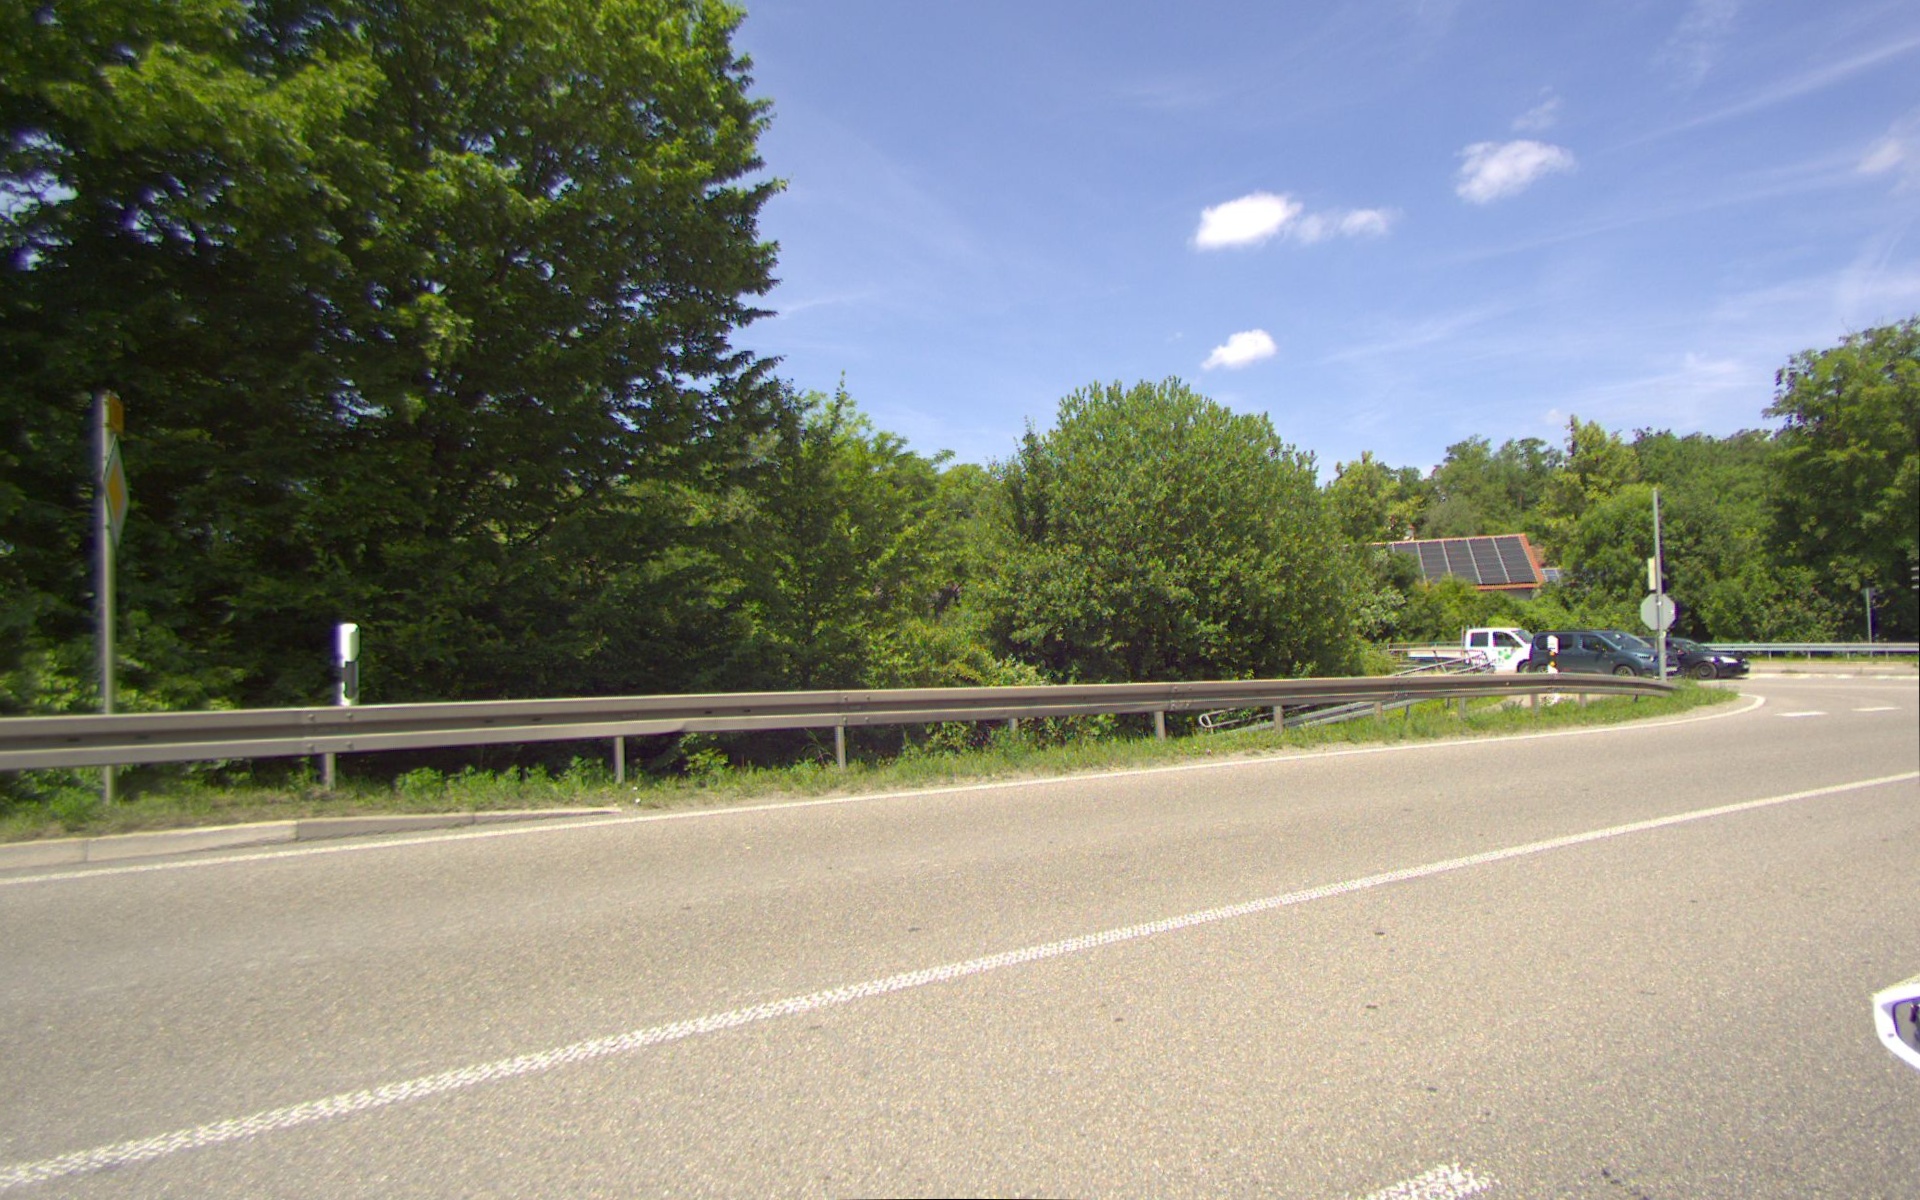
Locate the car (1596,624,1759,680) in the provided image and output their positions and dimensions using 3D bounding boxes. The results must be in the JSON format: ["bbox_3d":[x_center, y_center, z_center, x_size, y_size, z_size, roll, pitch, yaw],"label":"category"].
[{"bbox_3d":[24.564,1.754,34.592,1.970,1.793,4.229,2,-2,-20],"label":"car"}]

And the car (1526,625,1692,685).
[{"bbox_3d":[20.963,1.730,32.667,1.970,1.793,4.229,2,-2,-20],"label":"car"}]

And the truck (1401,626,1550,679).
[{"bbox_3d":[20.405,2.067,39.943,2.028,1.815,4.832,4,-1,-41],"label":"truck"}]
